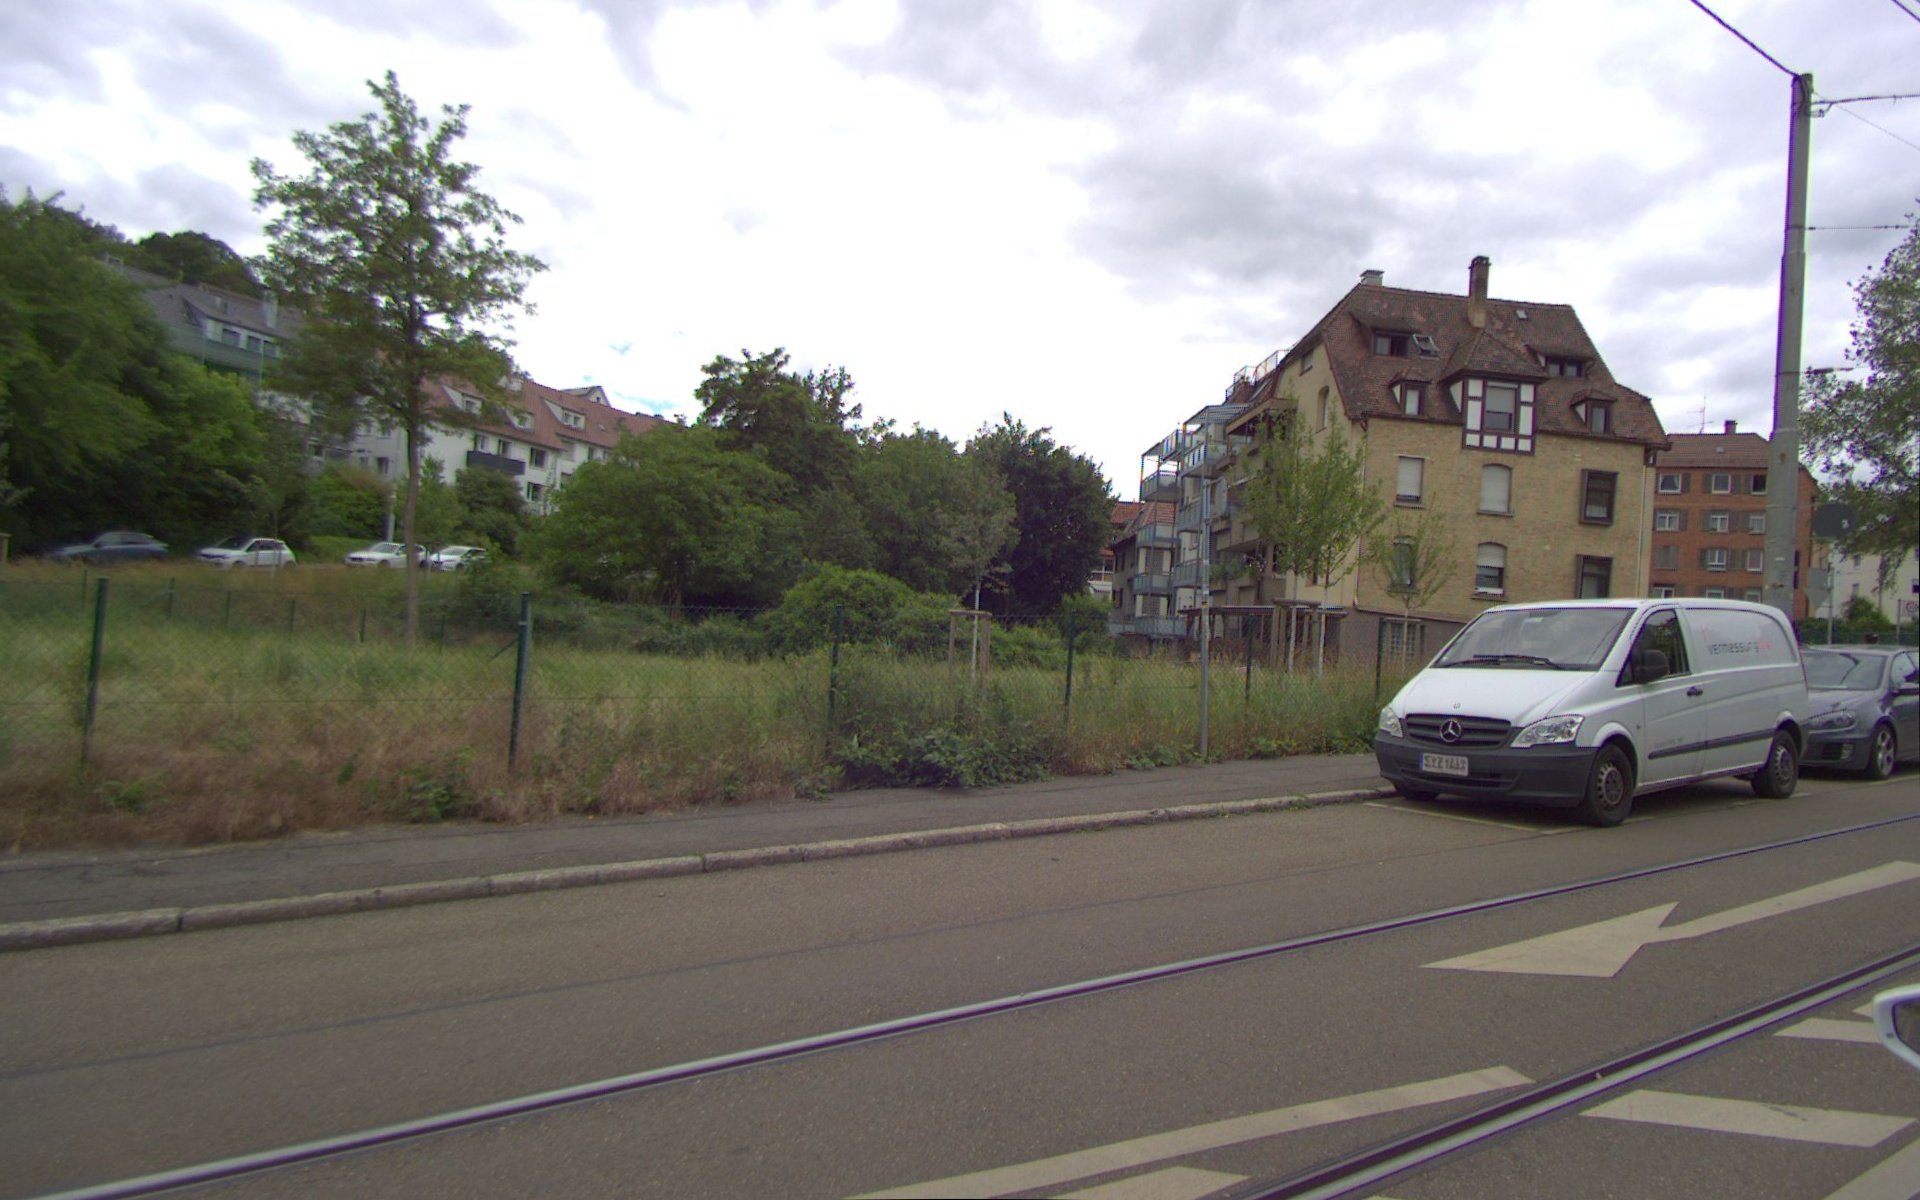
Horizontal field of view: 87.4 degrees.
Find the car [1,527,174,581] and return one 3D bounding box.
[{"bbox_3d":[-29.905,-1.534,34.617,1.942,1.531,4.135,3,0,10],"label":"car"}]

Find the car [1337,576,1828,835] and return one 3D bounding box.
[{"bbox_3d":[6.011,0.921,9.563,4.830,1.906,2.025,3,-4,-31],"label":"car"}]

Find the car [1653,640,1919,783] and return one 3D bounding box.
[{"bbox_3d":[10.712,1.249,12.382,4.458,1.451,1.887,2,-2,-30],"label":"car"}]

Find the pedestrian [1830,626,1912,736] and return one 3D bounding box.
[{"bbox_3d":[14.494,1.274,15.984,0.909,1.650,0.798,3,0,-39],"label":"pedestrian"}]

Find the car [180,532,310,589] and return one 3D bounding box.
[{"bbox_3d":[-29.250,-1.574,41.265,1.942,2.040,4.135,3,0,9],"label":"car"}]

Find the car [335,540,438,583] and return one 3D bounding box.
[{"bbox_3d":[-28.021,-1.838,49.252,1.863,1.812,4.487,3,0,10],"label":"car"}]

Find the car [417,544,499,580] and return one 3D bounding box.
[{"bbox_3d":[-27.217,-2.023,54.597,1.800,1.680,4.135,3,0,10],"label":"car"}]
